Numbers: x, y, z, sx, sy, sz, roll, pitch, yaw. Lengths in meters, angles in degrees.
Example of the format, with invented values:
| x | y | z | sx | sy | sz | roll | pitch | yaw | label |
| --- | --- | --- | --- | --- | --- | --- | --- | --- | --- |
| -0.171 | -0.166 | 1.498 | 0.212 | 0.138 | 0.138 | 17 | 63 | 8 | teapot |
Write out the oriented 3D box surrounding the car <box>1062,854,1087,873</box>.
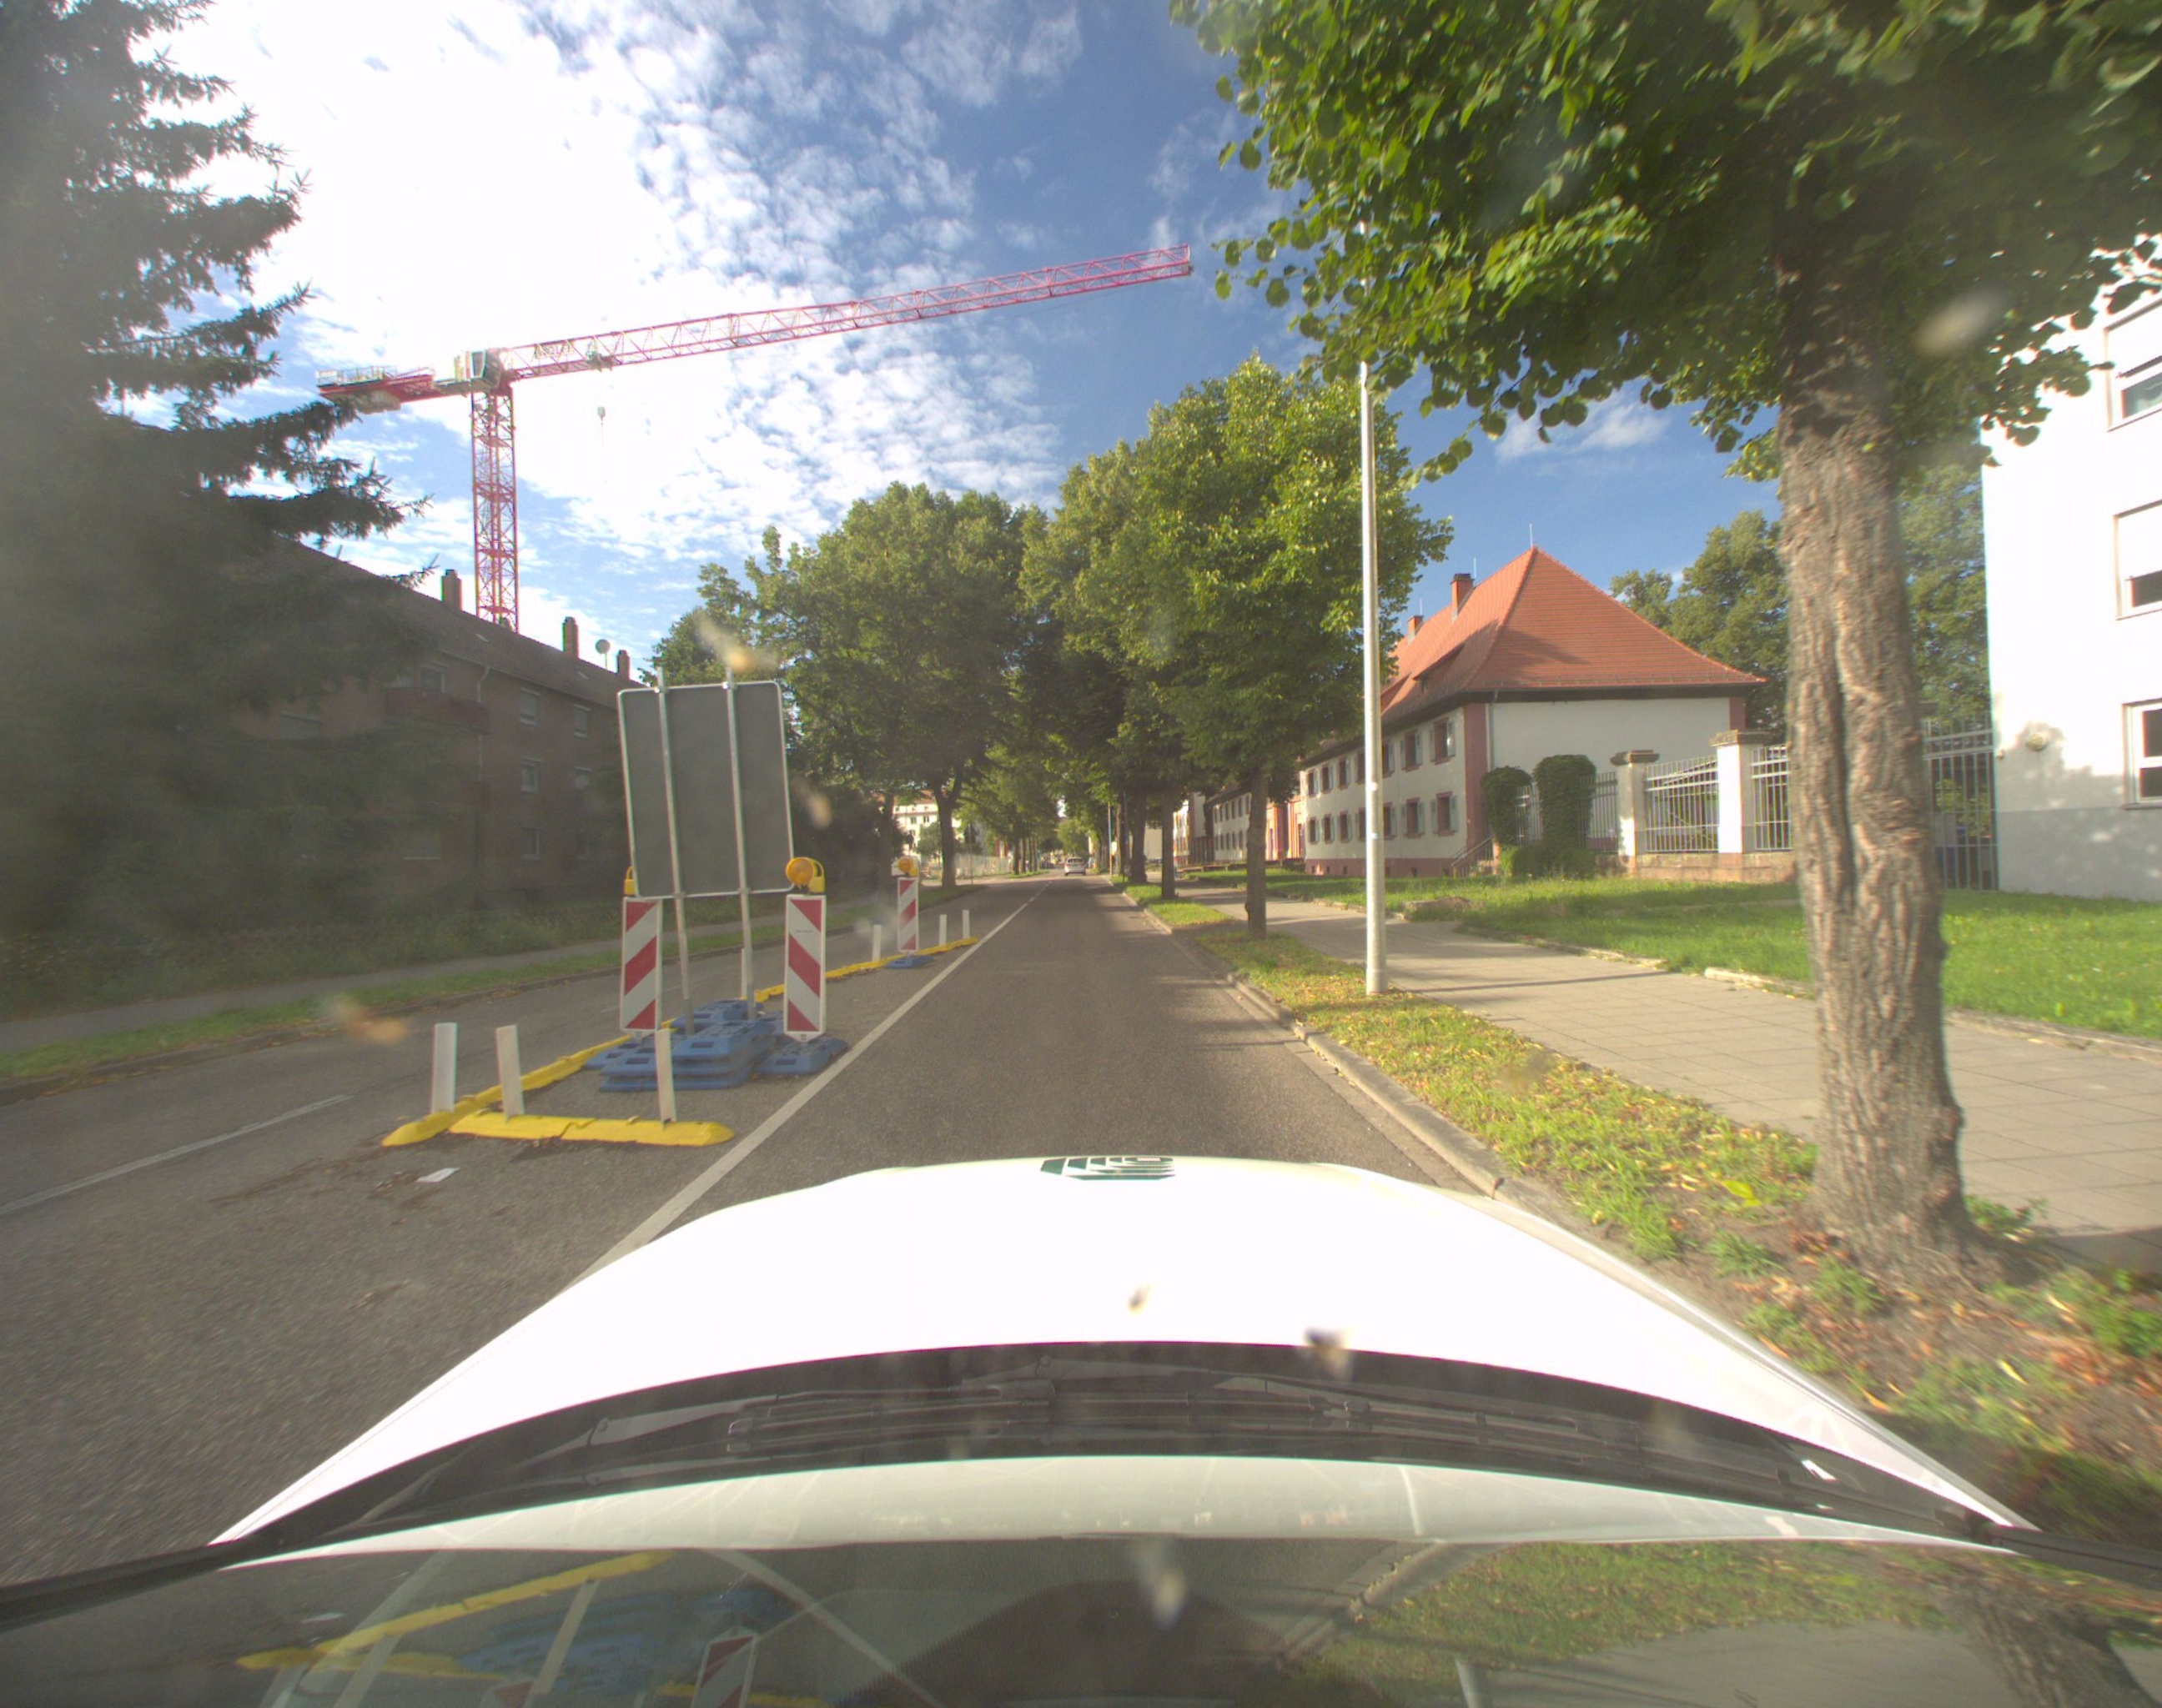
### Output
| x | y | z | sx | sy | sz | roll | pitch | yaw | label |
| --- | --- | --- | --- | --- | --- | --- | --- | --- | --- |
| -0.593 | 0.829 | 69.979 | 1.989 | 1.555 | 4.268 | -1 | -1 | -4 | car |

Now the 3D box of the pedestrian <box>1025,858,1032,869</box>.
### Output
| x | y | z | sx | sy | sz | roll | pitch | yaw | label |
| --- | --- | --- | --- | --- | --- | --- | --- | --- | --- |
| -8.852 | 1.605 | 138.180 | 1.008 | 1.728 | 1.173 | -1 | -2 | -13 | pedestrian |

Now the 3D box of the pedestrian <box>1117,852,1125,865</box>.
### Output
| x | y | z | sx | sy | sz | roll | pitch | yaw | label |
| --- | --- | --- | --- | --- | --- | --- | --- | --- | --- |
| 5.035 | 0.594 | 102.065 | 0.811 | 1.590 | 0.769 | -4 | -1 | -2 | pedestrian |

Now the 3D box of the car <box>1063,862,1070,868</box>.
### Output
| x | y | z | sx | sy | sz | roll | pitch | yaw | label |
| --- | --- | --- | --- | --- | --- | --- | --- | --- | --- |
| -4.352 | 3.348 | 244.716 | 1.987 | 1.755 | 3.999 | -1 | -1 | 0 | car |

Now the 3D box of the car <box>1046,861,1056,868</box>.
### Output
| x | y | z | sx | sy | sz | roll | pitch | yaw | label |
| --- | --- | --- | --- | --- | --- | --- | --- | --- | --- |
| -7.188 | 2.586 | 196.998 | 1.992 | 1.640 | 3.990 | -2 | -1 | -7 | car |

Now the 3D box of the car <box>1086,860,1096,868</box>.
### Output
| x | y | z | sx | sy | sz | roll | pitch | yaw | label |
| --- | --- | --- | --- | --- | --- | --- | --- | --- | --- |
| 2.358 | 2.360 | 191.765 | 1.988 | 1.574 | 3.997 | -2 | -1 | -1 | car |

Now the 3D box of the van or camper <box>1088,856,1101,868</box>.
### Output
| x | y | z | sx | sy | sz | roll | pitch | yaw | label |
| --- | --- | --- | --- | --- | --- | --- | --- | --- | --- |
| 2.918 | 1.727 | 180.857 | 2.205 | 2.607 | 5.362 | -2 | -1 | -4 | van or camper |

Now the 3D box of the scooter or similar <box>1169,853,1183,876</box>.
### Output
| x | y | z | sx | sy | sz | roll | pitch | yaw | label |
| --- | --- | --- | --- | --- | --- | --- | --- | --- | --- |
| 5.500 | 0.591 | 47.179 | 0.577 | 1.291 | 1.381 | -4 | 0 | 1 | scooter or similar |
